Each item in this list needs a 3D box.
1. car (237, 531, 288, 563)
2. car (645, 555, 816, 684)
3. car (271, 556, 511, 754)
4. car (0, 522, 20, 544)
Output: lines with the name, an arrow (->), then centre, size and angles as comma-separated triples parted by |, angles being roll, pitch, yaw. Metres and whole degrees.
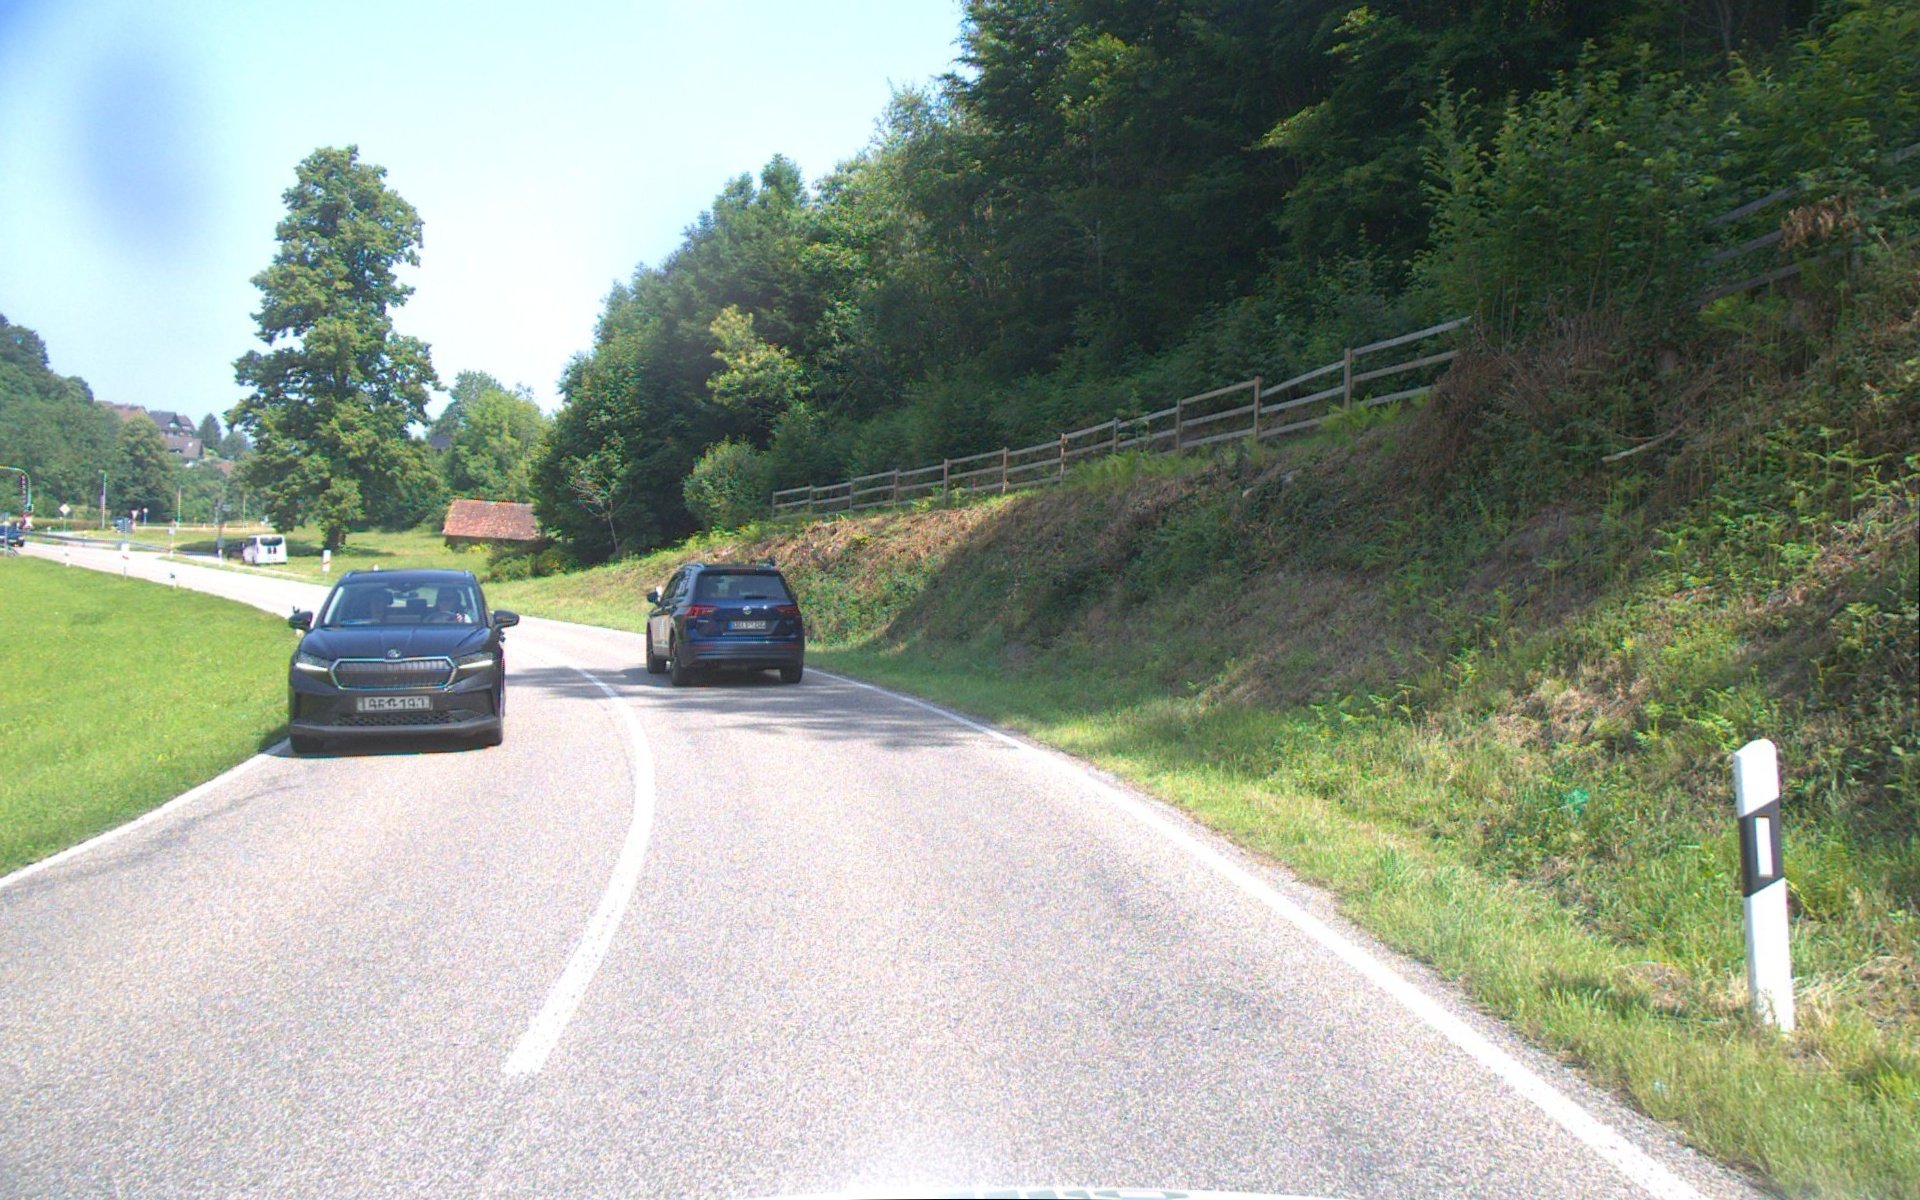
car -> -44.880, -3.444, 106.374 | 1.983, 1.879, 4.809 | -5, 6, -35
car -> -3.397, 0.242, 23.843 | 1.823, 1.678, 4.120 | 1, 0, -17
car -> -5.404, 0.423, 16.235 | 1.844, 1.614, 4.577 | -1, 1, -15
car -> -70.629, -4.959, 121.605 | 1.904, 1.496, 4.448 | 0, 2, -39
